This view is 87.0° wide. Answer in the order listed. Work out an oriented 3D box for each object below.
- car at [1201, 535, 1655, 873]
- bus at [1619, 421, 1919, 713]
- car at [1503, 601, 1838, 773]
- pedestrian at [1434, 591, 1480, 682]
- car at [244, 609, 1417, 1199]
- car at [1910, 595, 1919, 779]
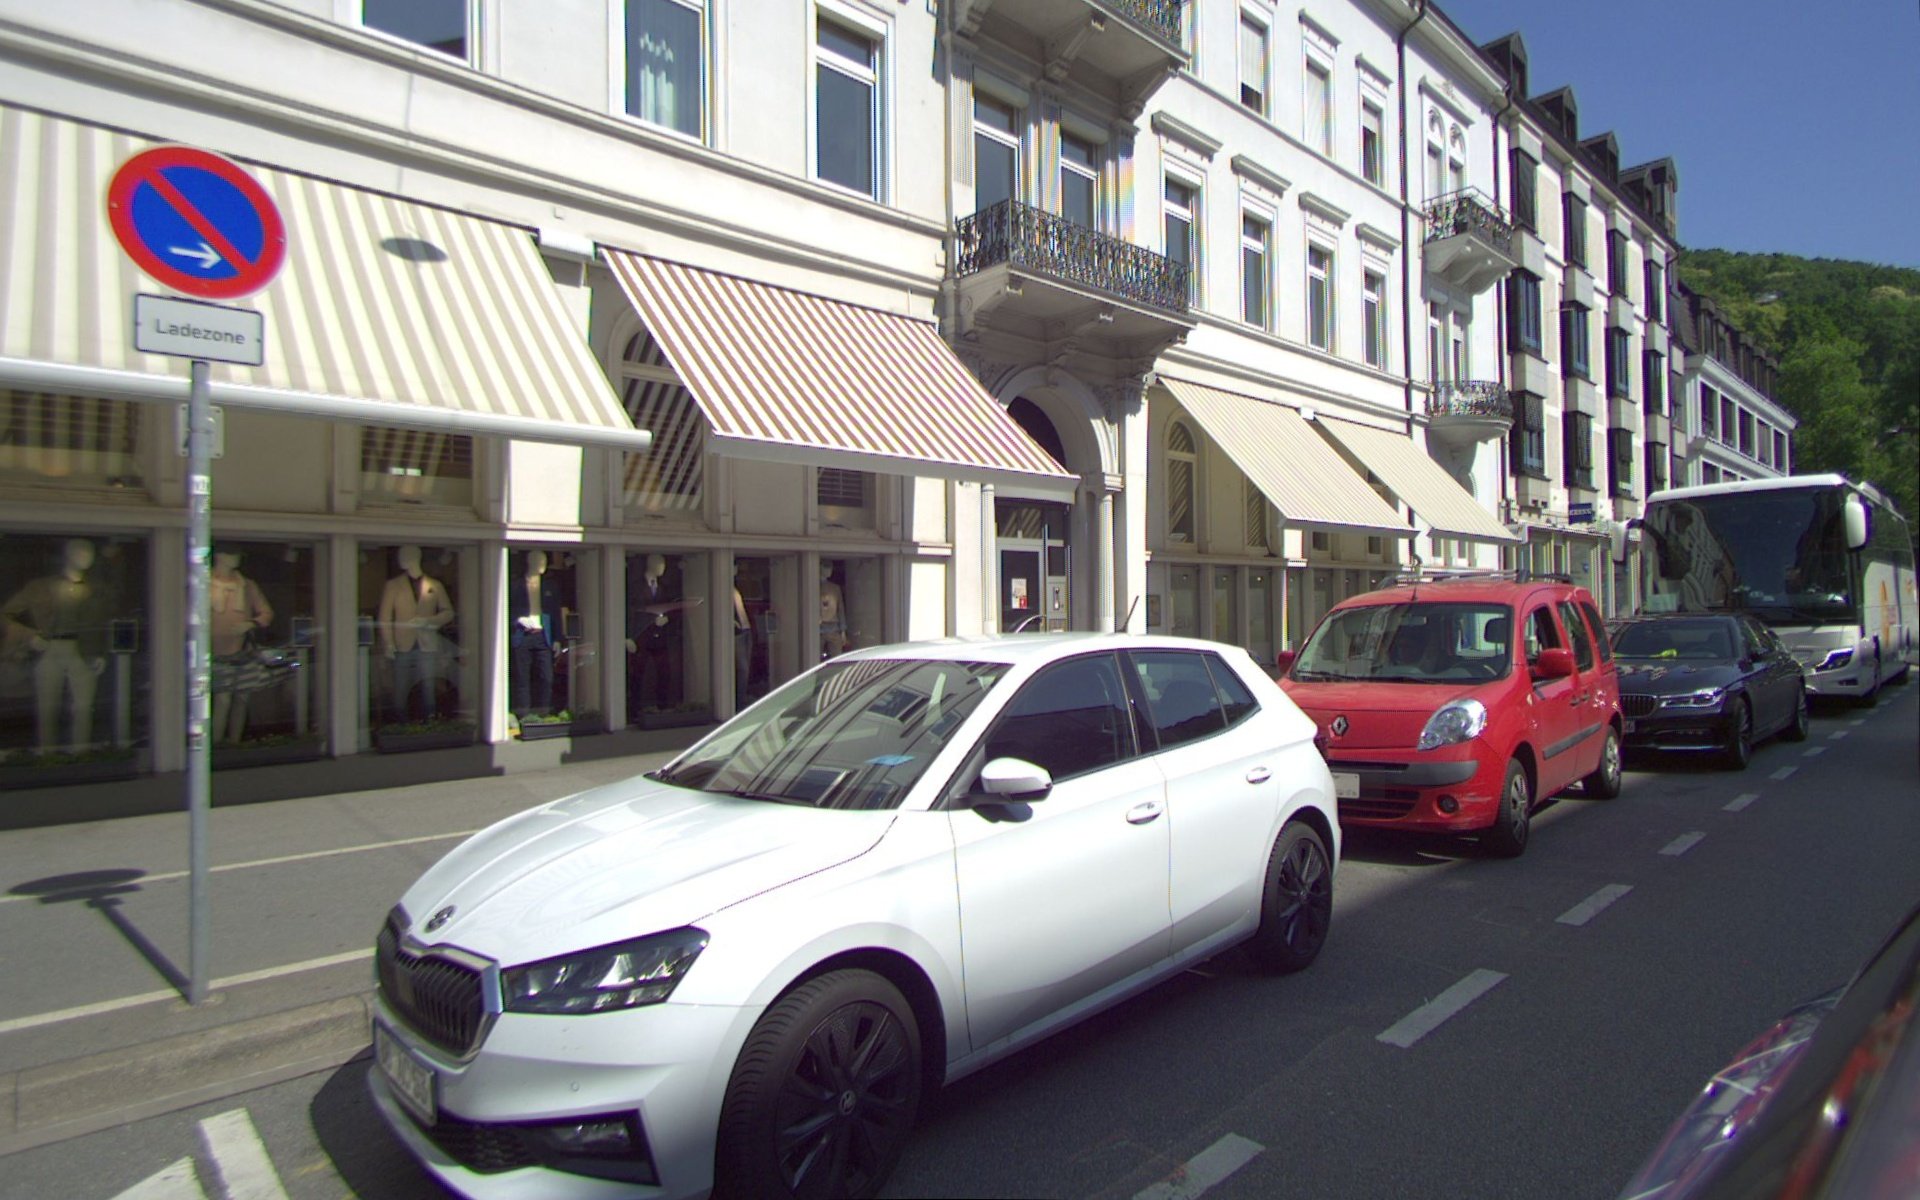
[{"bbox_3d":[3.829,0.629,7.866,1.827,1.888,4.284,-4,-3,44],"label":"car"},{"bbox_3d":[15.430,-0.396,18.371,12.218,3.791,2.883,0,-3,-43],"label":"bus"},{"bbox_3d":[8.075,0.803,11.278,5.135,1.489,1.861,0,-3,-42],"label":"car"},{"bbox_3d":[9.787,0.694,19.940,0.755,1.753,0.568,0,-1,-42],"label":"pedestrian"},{"bbox_3d":[0.014,0.834,4.079,4.505,1.485,1.813,1,-4,-45],"label":"car"},{"bbox_3d":[10.187,0.694,9.219,4.328,1.542,1.710,0,-1,-40],"label":"car"}]
